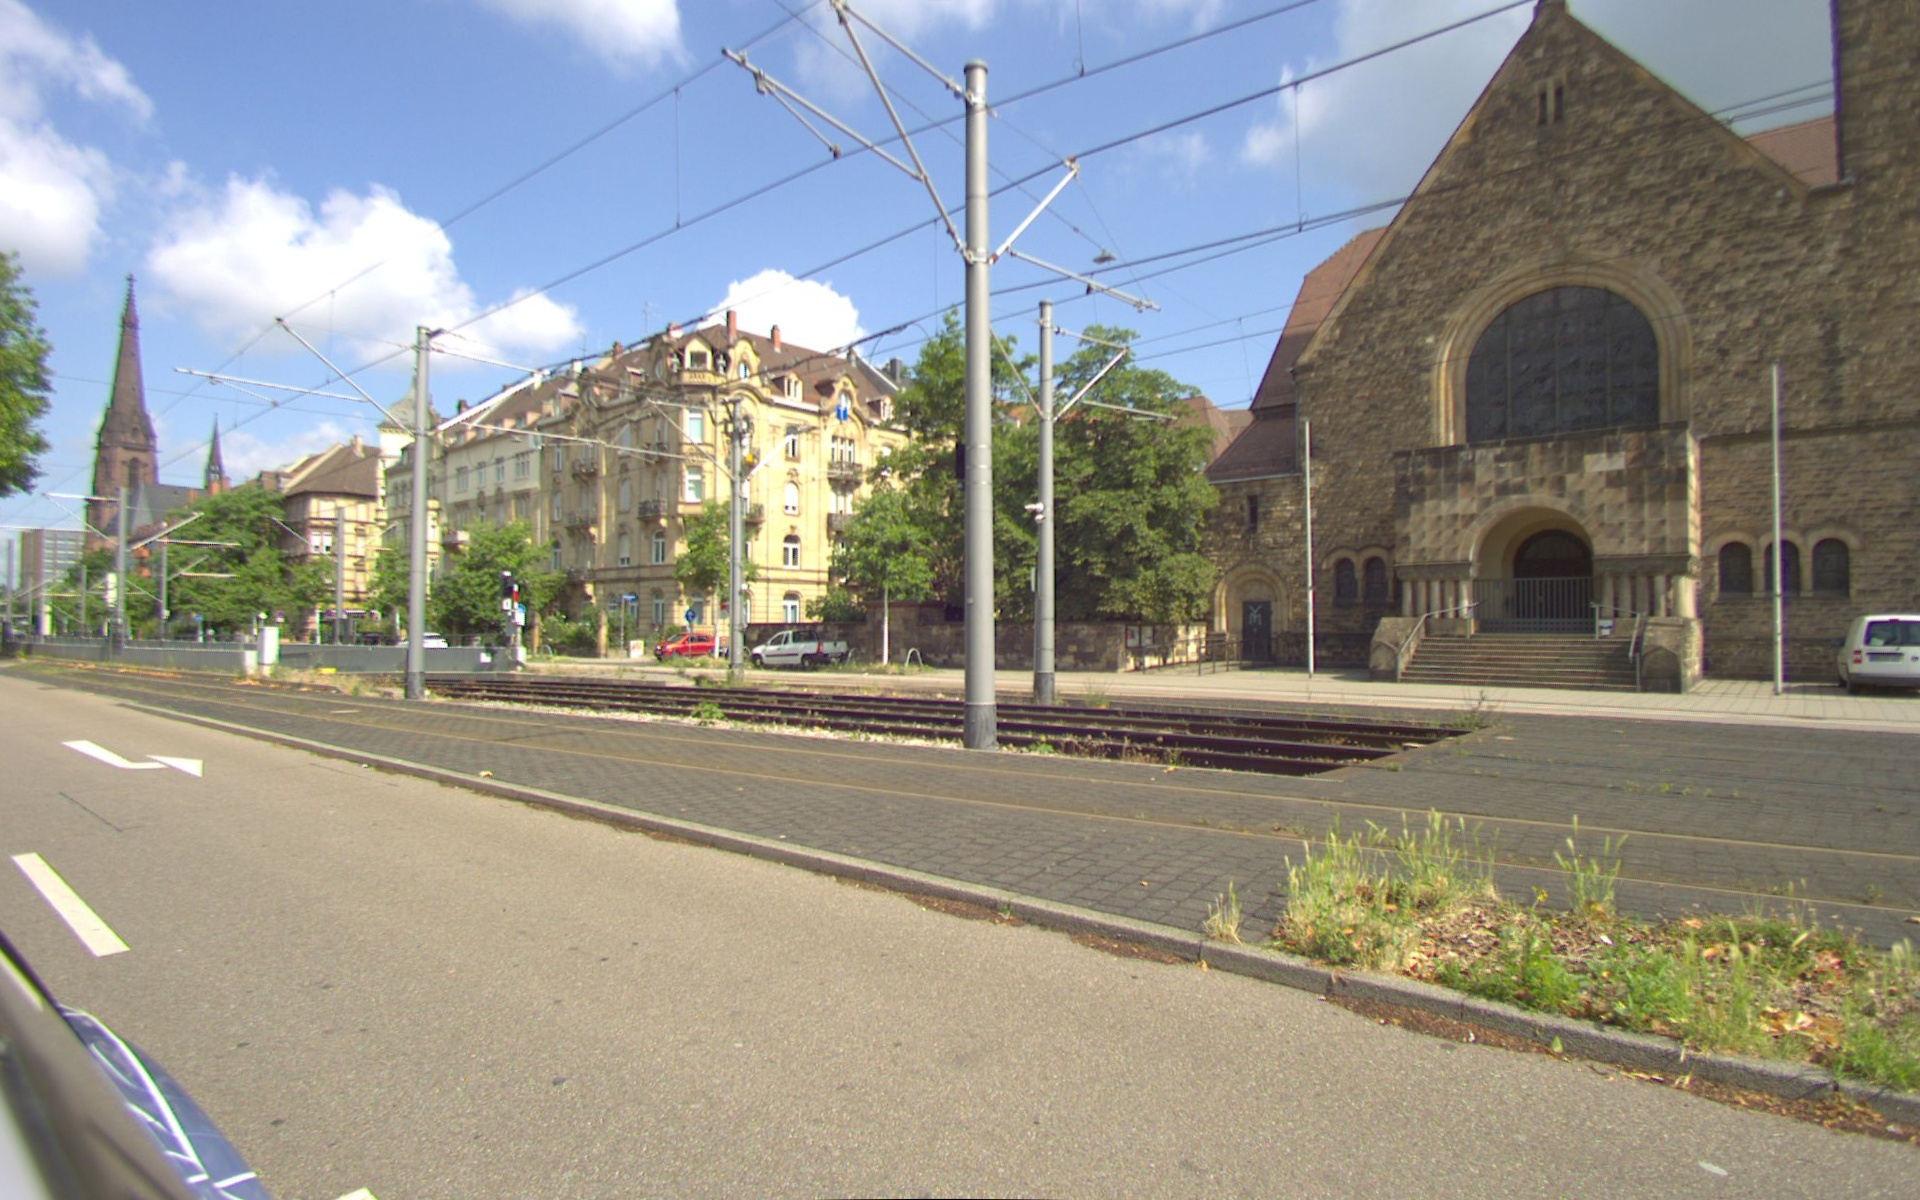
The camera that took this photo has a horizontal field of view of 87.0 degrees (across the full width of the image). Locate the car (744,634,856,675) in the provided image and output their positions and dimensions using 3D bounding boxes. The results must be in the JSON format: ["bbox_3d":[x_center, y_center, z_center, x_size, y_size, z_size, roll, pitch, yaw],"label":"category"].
[{"bbox_3d":[-6.288,2.085,39.563,4.410,1.516,1.911,-2,-3,39],"label":"car"}]

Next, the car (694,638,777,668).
[{"bbox_3d":[-11.539,2.706,52.125,1.723,1.475,3.921,-2,-3,41],"label":"car"}]

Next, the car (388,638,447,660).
[{"bbox_3d":[-34.060,3.044,63.525,4.308,1.338,1.734,-2,-3,39],"label":"car"}]

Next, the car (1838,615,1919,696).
[{"bbox_3d":[21.859,1.267,23.560,1.892,1.762,3.833,-2,-3,38],"label":"car"}]

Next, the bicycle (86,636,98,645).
[{"bbox_3d":[-102.018,4.777,118.963,2.140,0.986,0.767,-2,-5,42],"label":"bicycle"}]

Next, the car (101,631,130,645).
[{"bbox_3d":[-102.147,4.614,122.394,4.111,1.650,1.973,-2,-3,41],"label":"car"}]

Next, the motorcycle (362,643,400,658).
[{"bbox_3d":[-38.603,3.371,67.479,1.416,0.949,1.742,-2,-5,39],"label":"motorcycle"}]

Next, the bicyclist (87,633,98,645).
[{"bbox_3d":[-101.999,4.606,118.938,1.048,1.348,0.759,-2,-5,41],"label":"bicyclist"}]

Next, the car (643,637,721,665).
[{"bbox_3d":[-15.443,2.804,56.368,1.933,1.475,3.738,-2,-3,44],"label":"car"}]

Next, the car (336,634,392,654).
[{"bbox_3d":[-40.868,3.006,69.353,4.096,1.337,2.000,-2,-3,39],"label":"car"}]
